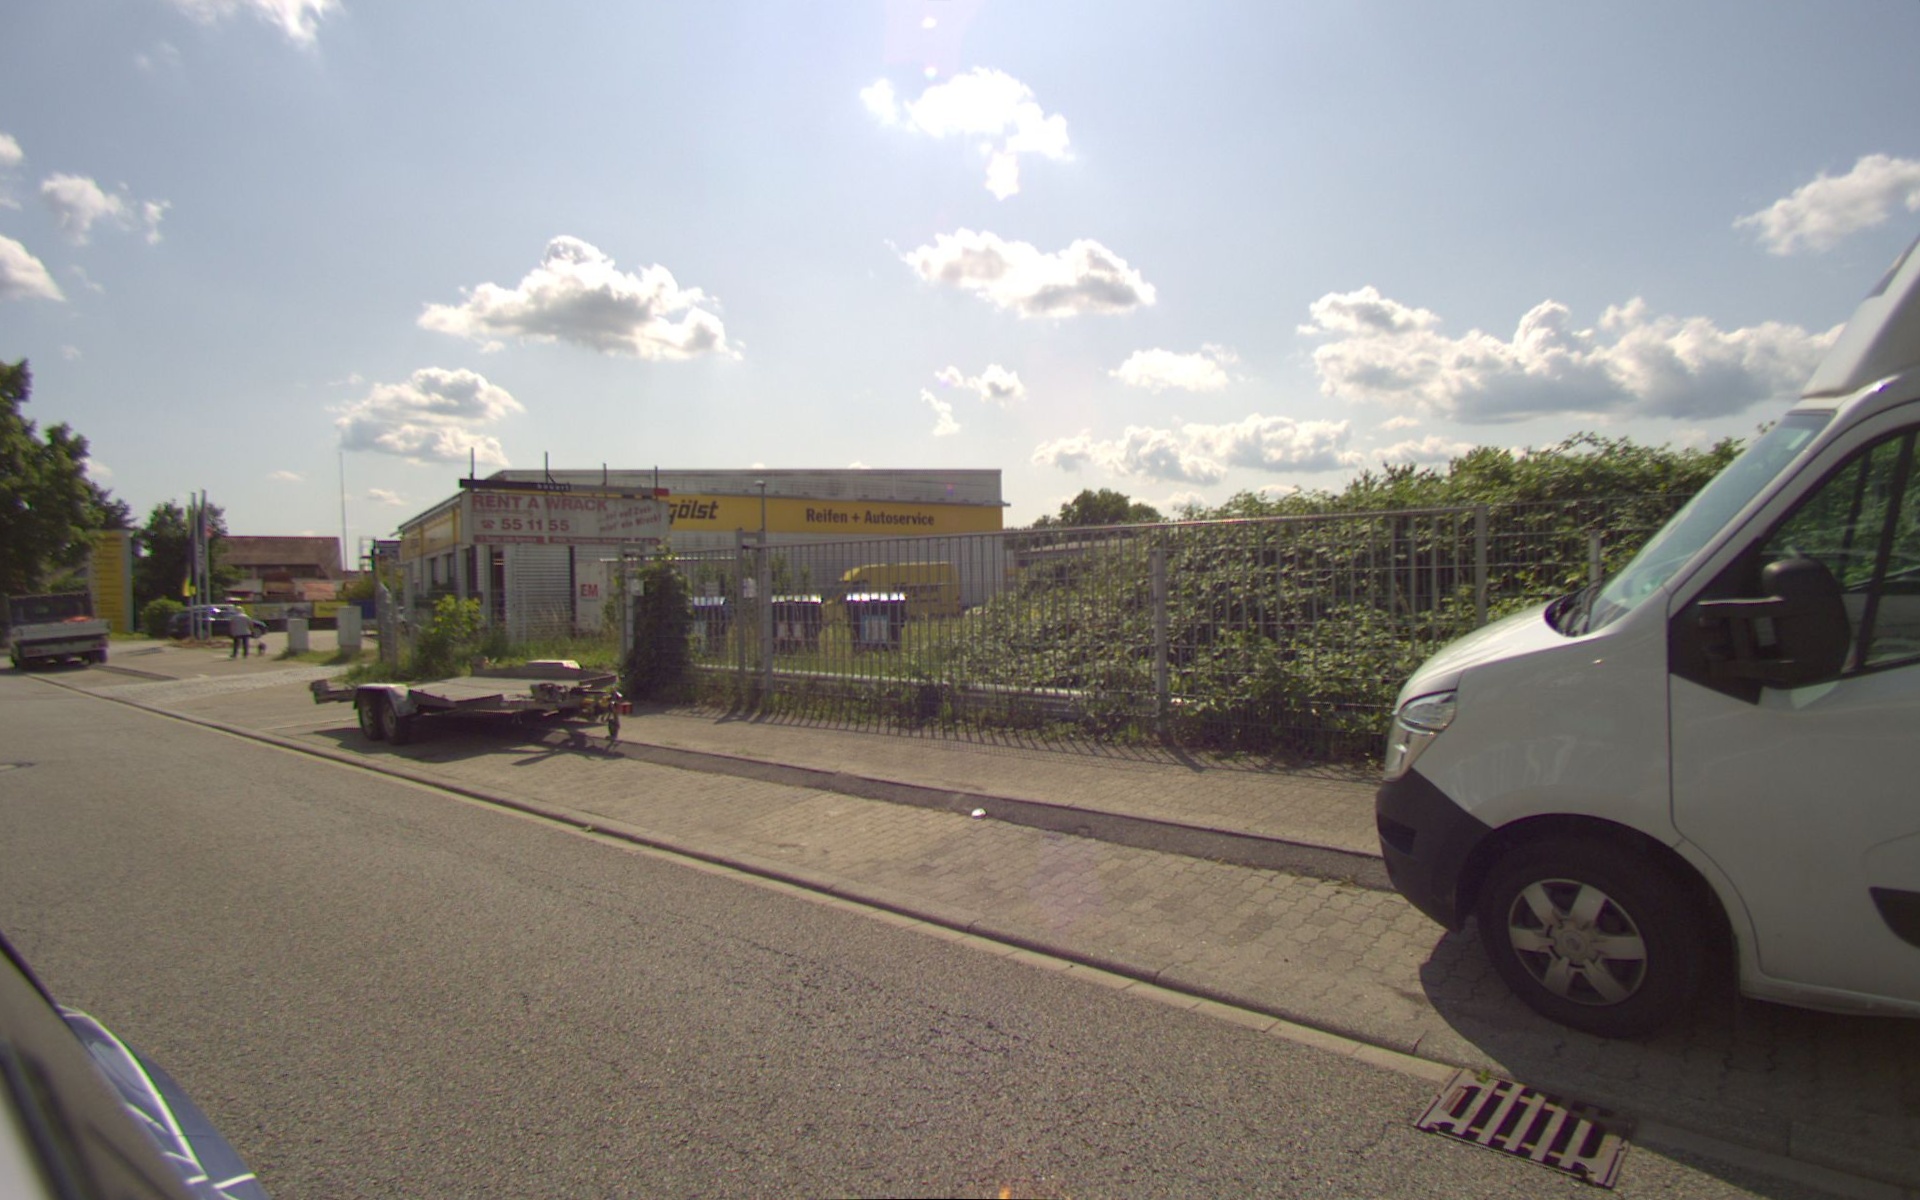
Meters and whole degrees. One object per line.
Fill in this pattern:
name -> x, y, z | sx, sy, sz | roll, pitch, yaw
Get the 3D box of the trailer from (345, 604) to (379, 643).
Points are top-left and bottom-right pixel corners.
trailer -> -28.403, 1.091, 48.062 | 1.249, 1.704, 2.978 | -2, 2, -32

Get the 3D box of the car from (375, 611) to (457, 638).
car -> -32.791, 1.442, 61.036 | 4.213, 1.494, 1.675 | -1, 0, -35

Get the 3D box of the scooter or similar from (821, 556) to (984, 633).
scooter or similar -> -2.005, -0.238, 35.914 | 5.390, 2.574, 2.006 | -1, 0, -29

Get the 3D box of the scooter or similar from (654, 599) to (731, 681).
scooter or similar -> -5.506, 0.807, 20.946 | 1.300, 1.598, 1.171 | -2, 0, -3

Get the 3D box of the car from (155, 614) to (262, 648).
car -> -36.667, 1.492, 49.479 | 1.845, 1.424, 3.821 | -1, 1, 18

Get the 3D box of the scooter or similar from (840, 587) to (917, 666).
scooter or similar -> -1.736, 0.555, 21.720 | 1.563, 1.598, 1.171 | -2, 0, -3

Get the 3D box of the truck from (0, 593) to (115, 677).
truck -> -28.742, 1.058, 32.102 | 7.351, 2.255, 2.105 | -1, 3, 44

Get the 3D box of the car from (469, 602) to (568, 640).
car -> -18.649, 0.849, 42.815 | 3.525, 1.447, 1.794 | -2, 0, -36

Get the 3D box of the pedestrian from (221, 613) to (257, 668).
pedestrian -> -21.240, 1.186, 29.804 | 0.918, 1.557, 0.653 | -2, 0, 42

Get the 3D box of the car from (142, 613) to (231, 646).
car -> -45.230, 1.685, 59.243 | 4.035, 1.726, 1.682 | -2, 0, -40

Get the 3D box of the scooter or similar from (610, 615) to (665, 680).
scooter or similar -> -6.736, 0.974, 21.174 | 0.884, 1.285, 0.883 | -1, 0, -3

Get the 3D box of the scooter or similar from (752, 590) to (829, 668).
scooter or similar -> -3.529, 0.584, 21.231 | 1.428, 1.549, 1.171 | -2, 0, -3

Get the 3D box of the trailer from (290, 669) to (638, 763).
trailer -> -6.157, 1.312, 12.355 | 4.441, 0.556, 2.213 | -1, 3, 40

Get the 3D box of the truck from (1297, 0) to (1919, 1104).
truck -> 4.655, -0.452, 2.311 | 6.902, 3.386, 2.228 | -2, 4, 41

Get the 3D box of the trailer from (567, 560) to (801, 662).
trailer -> -8.504, 0.241, 31.566 | 6.433, 2.873, 2.764 | -2, 0, -38

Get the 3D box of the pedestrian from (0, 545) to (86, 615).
pedestrian -> -28.602, -0.607, 31.234 | 4.000, 2.028, 1.972 | 0, 2, 43
